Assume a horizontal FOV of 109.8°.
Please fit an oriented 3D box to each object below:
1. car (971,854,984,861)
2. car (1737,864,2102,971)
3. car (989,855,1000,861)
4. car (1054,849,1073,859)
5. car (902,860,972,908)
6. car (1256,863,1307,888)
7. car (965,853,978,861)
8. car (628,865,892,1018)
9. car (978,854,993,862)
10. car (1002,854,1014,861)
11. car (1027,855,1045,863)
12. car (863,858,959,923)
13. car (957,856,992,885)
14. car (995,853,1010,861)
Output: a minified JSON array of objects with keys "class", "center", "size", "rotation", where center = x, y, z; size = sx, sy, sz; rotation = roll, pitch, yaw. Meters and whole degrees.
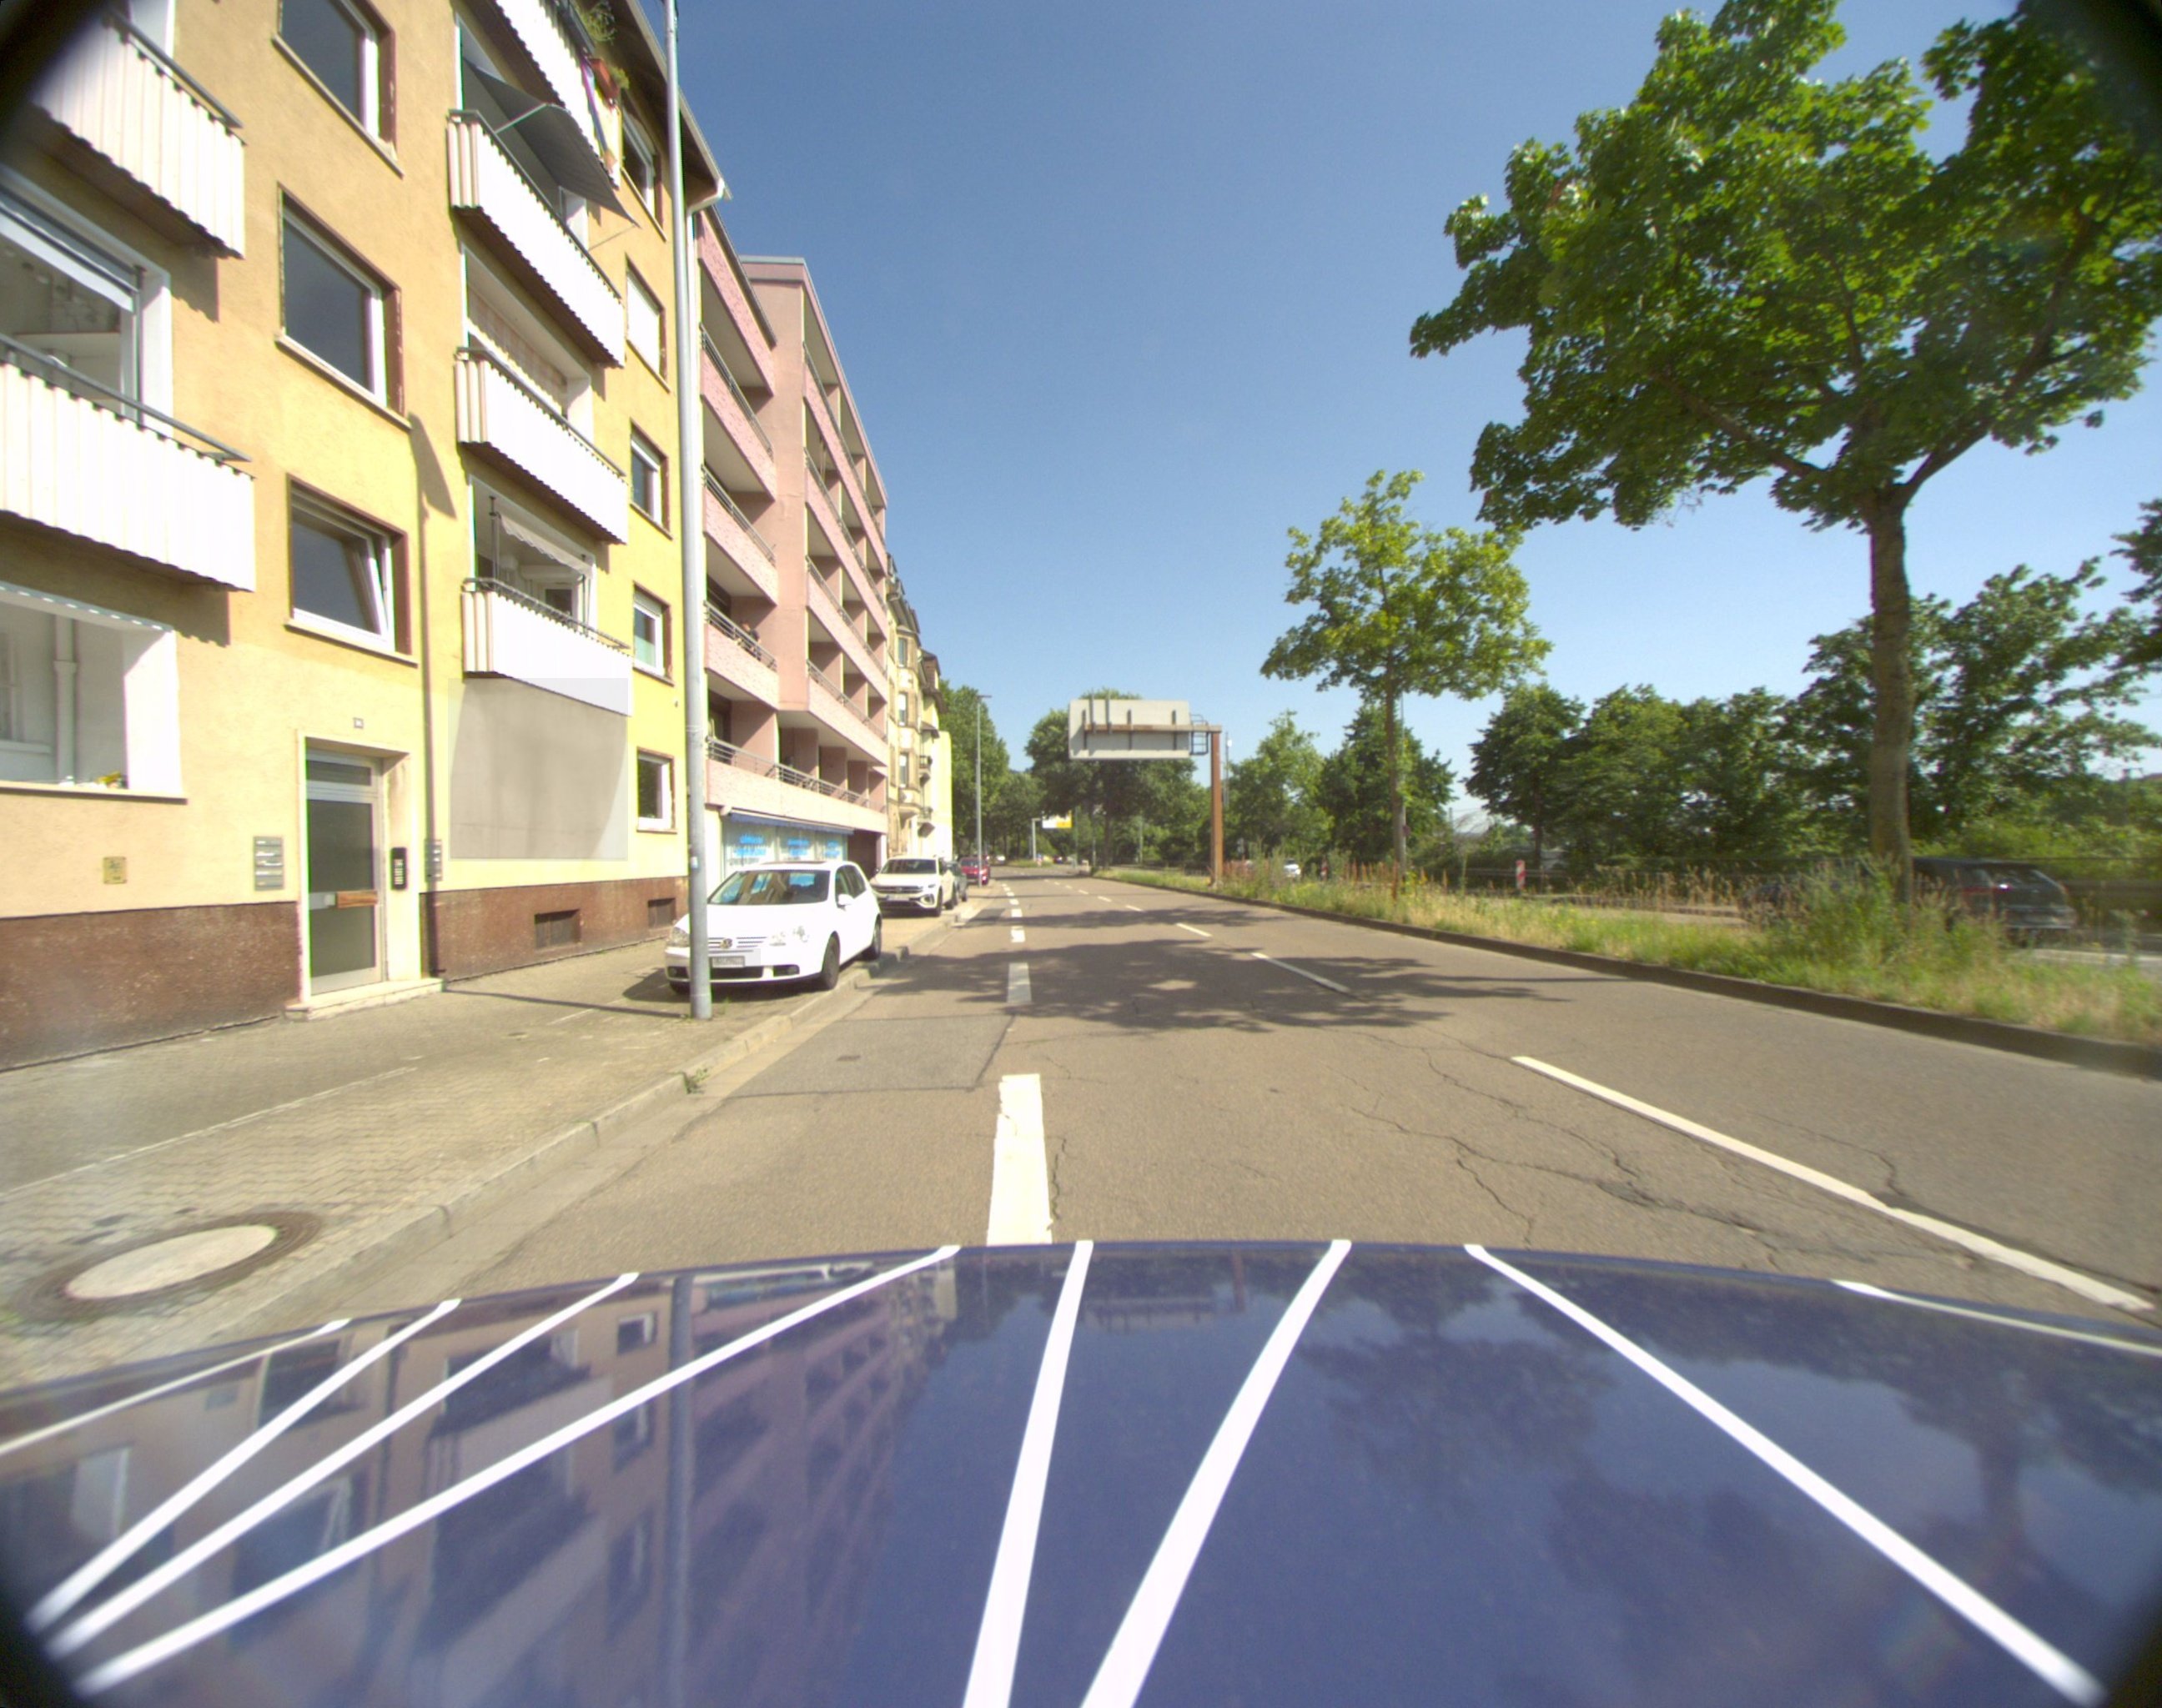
[{"class":"car","center":[-23.706,0.751,174.163],"size":[1.925,1.654,4.304],"rotation":[-2,0,-21]},{"class":"car","center":[14.163,0.958,13.253],"size":[1.803,1.521,3.998],"rotation":[0,0,-5]},{"class":"car","center":[-18.999,0.870,166.606],"size":[1.683,1.460,3.571],"rotation":[0,0,-20]},{"class":"car","center":[-2.933,-0.056,124.239],"size":[2.001,1.519,4.691],"rotation":[2,0,-16]},{"class":"car","center":[-4.647,0.933,24.905],"size":[1.683,1.400,3.430],"rotation":[2,0,-2]},{"class":"car","center":[11.810,1.245,44.995],"size":[1.650,1.408,3.969],"rotation":[0,-1,-6]},{"class":"car","center":[-24.040,0.640,167.345],"size":[2.002,1.880,3.992],"rotation":[0,0,-21]},{"class":"car","center":[-3.728,0.918,9.700],"size":[1.761,1.497,4.127],"rotation":[1,0,-2]},{"class":"car","center":[-19.849,0.815,157.848],"size":[1.806,1.511,3.955],"rotation":[1,0,-27]},{"class":"car","center":[-15.307,0.693,159.203],"size":[1.648,1.492,3.642],"rotation":[0,0,-23]},{"class":"car","center":[-8.415,1.007,141.725],"size":[2.002,1.403,4.607],"rotation":[1,0,-21]},{"class":"car","center":[-4.371,0.879,20.180],"size":[1.741,1.532,4.352],"rotation":[1,0,-2]},{"class":"car","center":[-5.939,0.890,42.706],"size":[1.790,1.473,3.998],"rotation":[1,0,-6]},{"class":"car","center":[-15.429,0.639,149.001],"size":[1.872,1.444,4.196],"rotation":[2,0,-22]}]
